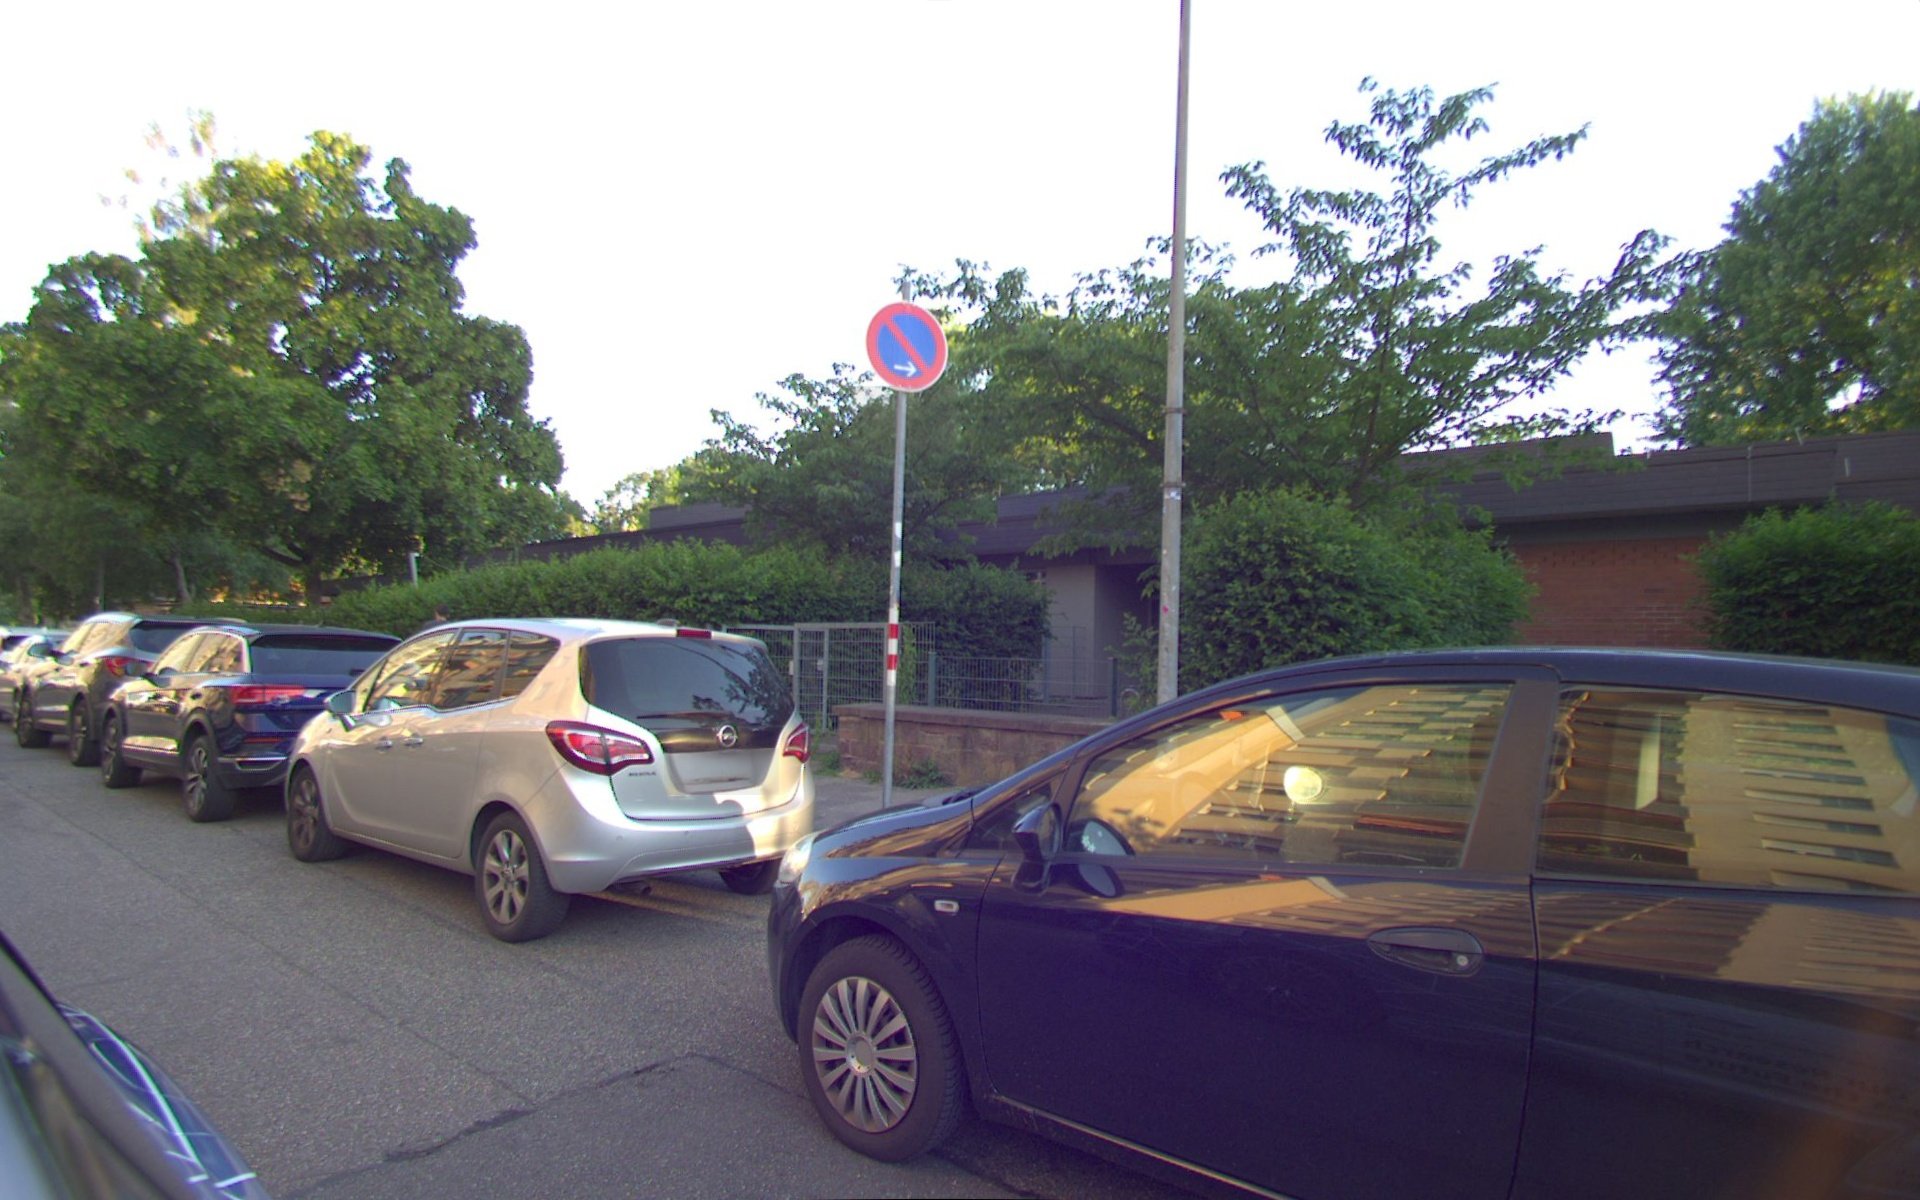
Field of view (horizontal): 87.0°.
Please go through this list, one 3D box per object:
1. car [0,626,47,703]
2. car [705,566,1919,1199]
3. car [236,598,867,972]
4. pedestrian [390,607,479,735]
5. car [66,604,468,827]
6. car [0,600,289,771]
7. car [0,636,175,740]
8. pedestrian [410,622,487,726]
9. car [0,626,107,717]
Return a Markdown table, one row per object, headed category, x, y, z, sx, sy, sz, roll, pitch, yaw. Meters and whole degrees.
| category | x | y | z | sx | sy | sz | roll | pitch | yaw |
| --- | --- | --- | --- | --- | --- | --- | --- | --- | --- |
| car | -22.091 | 1.422 | 22.771 | 3.978 | 1.644 | 1.715 | -2 | -5 | 41 |
| car | 1.222 | 0.815 | 2.664 | 3.691 | 1.579 | 1.717 | -2 | -5 | 37 |
| car | -2.691 | 0.886 | 6.268 | 4.123 | 1.579 | 1.717 | -2 | -5 | 37 |
| pedestrian | -7.540 | 0.988 | 14.521 | 0.749 | 1.745 | 0.890 | -2 | -1 | 38 |
| car | -6.370 | 0.919 | 9.154 | 4.160 | 1.579 | 1.717 | -2 | -5 | 37 |
| car | -10.037 | 0.974 | 12.327 | 4.316 | 1.743 | 1.717 | -2 | -5 | 37 |
| car | -14.258 | 1.327 | 16.076 | 4.280 | 1.438 | 1.717 | -2 | -5 | 37 |
| pedestrian | -7.890 | 1.114 | 15.609 | 0.900 | 1.519 | 0.741 | -2 | -1 | 38 |
| car | -17.964 | 1.318 | 19.206 | 4.273 | 1.555 | 1.742 | -2 | -5 | 37 |
